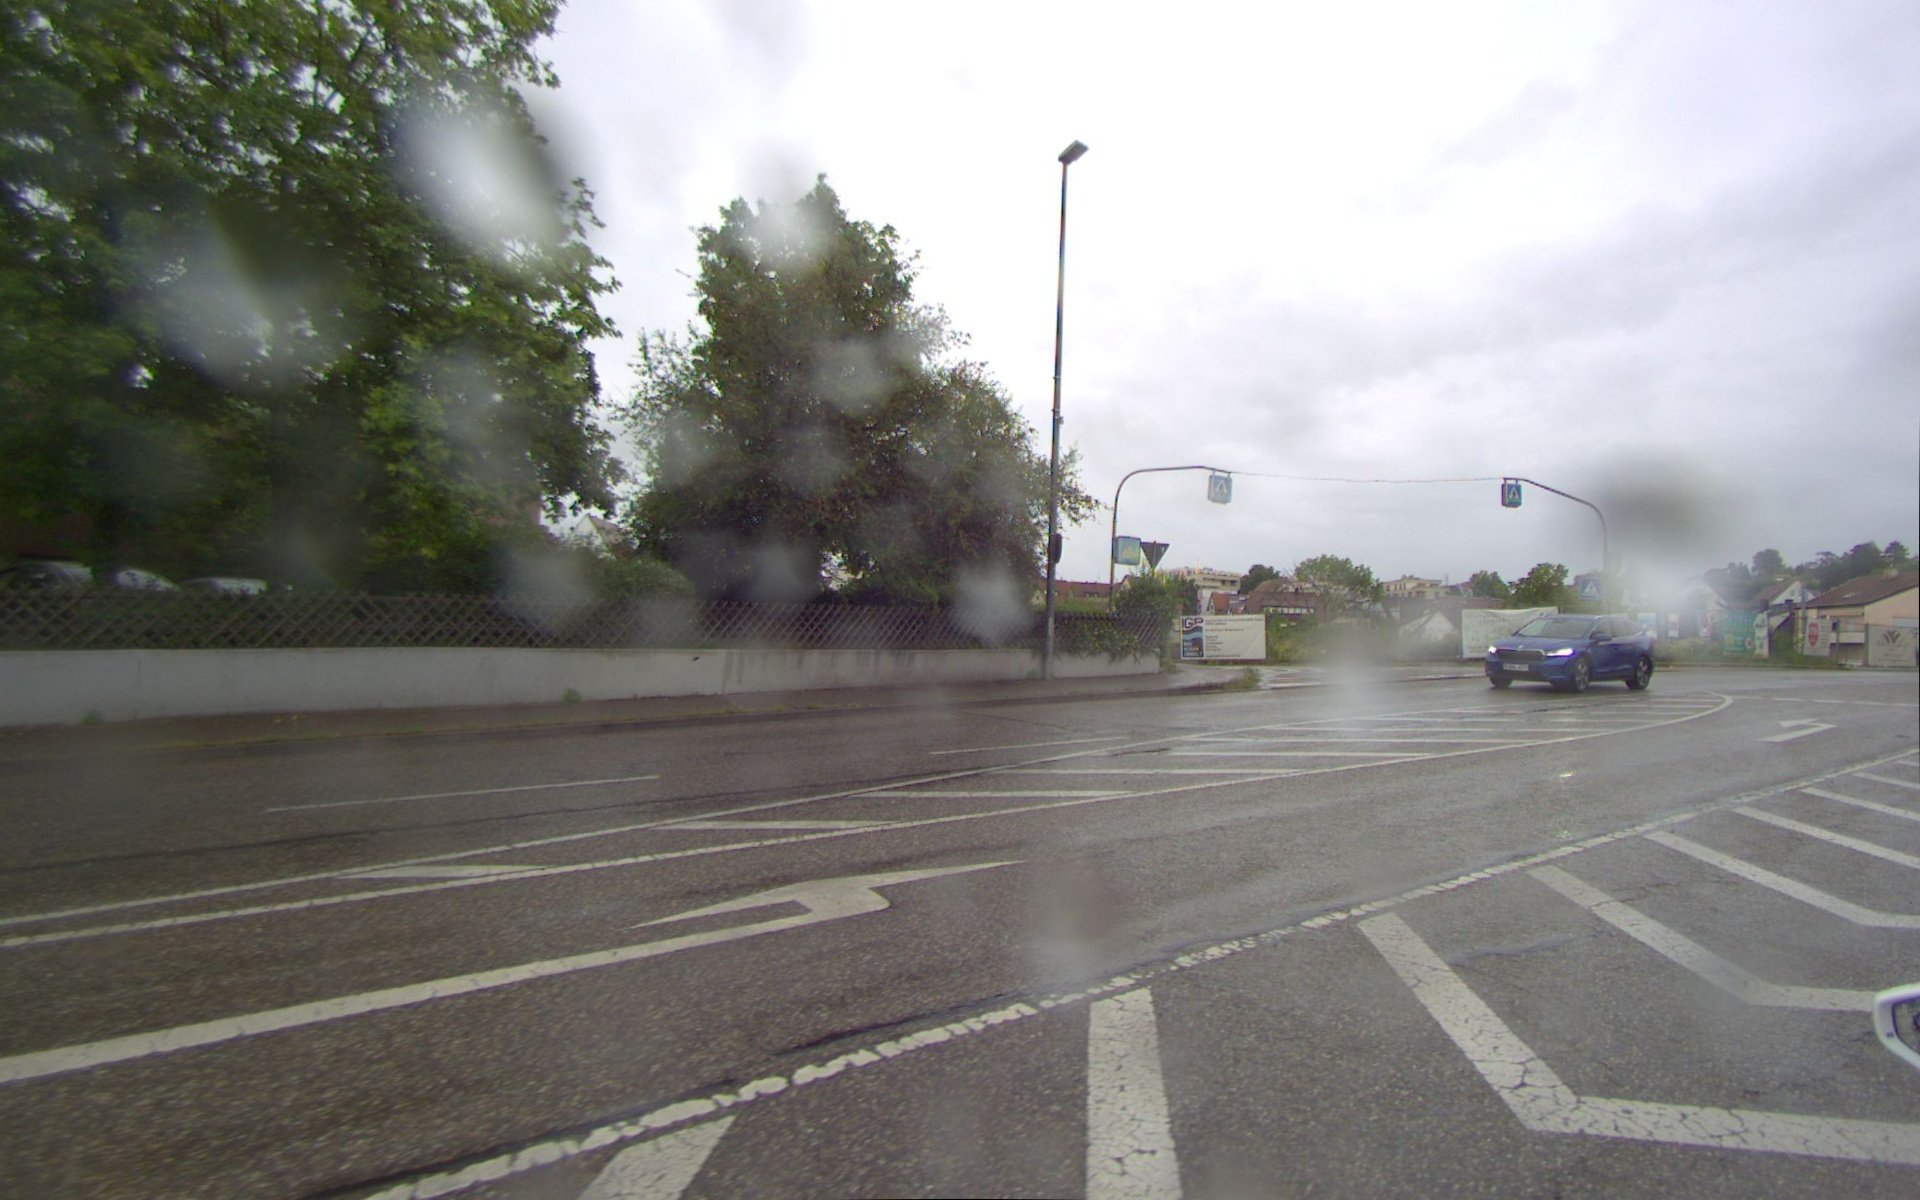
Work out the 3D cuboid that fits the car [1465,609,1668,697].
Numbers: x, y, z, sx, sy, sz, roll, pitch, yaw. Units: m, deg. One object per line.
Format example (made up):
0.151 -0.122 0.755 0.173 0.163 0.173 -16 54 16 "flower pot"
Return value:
13.495 1.182 22.279 4.655 1.715 1.982 3 -1 -33 "car"
